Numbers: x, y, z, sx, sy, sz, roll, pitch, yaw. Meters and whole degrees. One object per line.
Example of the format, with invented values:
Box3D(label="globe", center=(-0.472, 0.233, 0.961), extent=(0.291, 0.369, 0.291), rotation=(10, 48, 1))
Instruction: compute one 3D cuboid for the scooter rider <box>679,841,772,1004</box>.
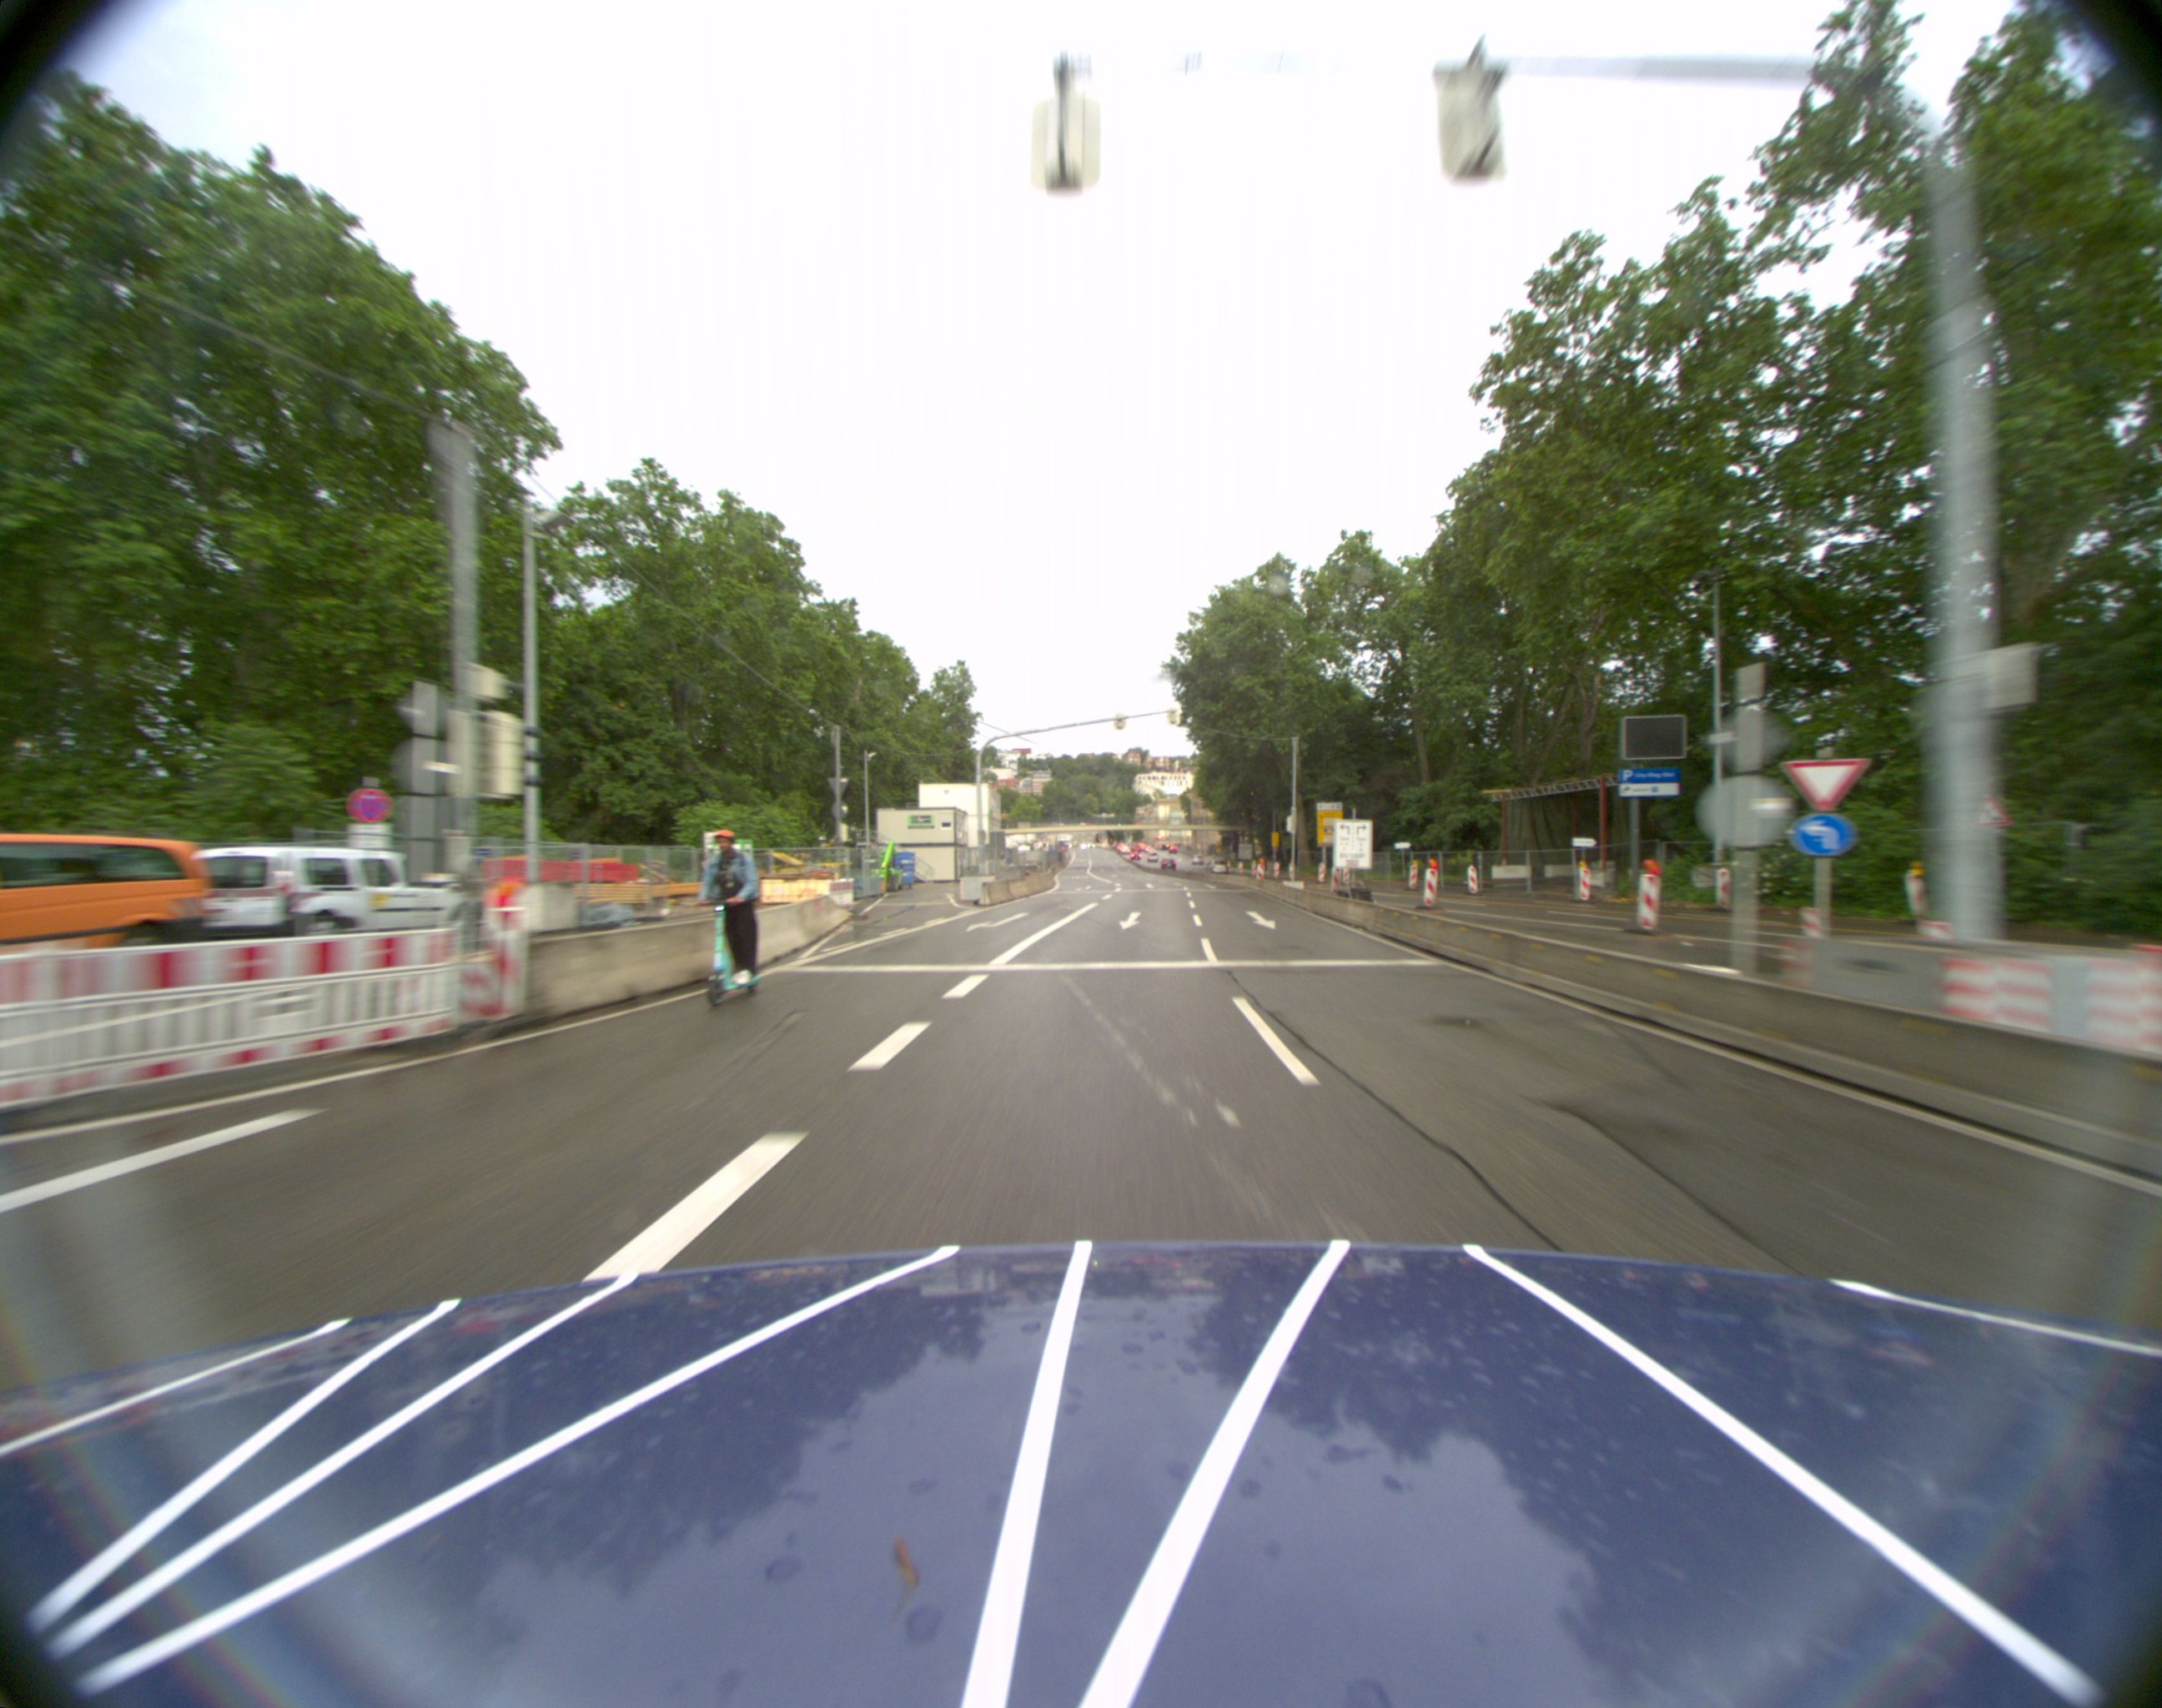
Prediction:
Box3D(label="scooter rider", center=(-4.094, 0.753, 8.819), extent=(0.599, 1.775, 0.997), rotation=(-1, 1, -2))

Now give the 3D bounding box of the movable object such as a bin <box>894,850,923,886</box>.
Box3D(label="movable object such as a bin", center=(-10.502, 0.854, 46.158), extent=(1.463, 2.190, 1.263), rotation=(0, -1, -24))

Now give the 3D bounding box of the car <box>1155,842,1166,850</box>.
Box3D(label="car", center=(21.575, -2.147, 206.502), extent=(2.000, 2.002, 3.995), rotation=(1, 2, -8))

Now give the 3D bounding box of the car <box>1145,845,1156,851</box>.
Box3D(label="car", center=(16.931, -1.530, 185.711), extent=(1.999, 1.375, 4.208), rotation=(1, 2, -5))

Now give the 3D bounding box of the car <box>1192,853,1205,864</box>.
Box3D(label="car", center=(18.635, 0.623, 120.440), extent=(1.872, 1.532, 4.092), rotation=(2, 2, 9))

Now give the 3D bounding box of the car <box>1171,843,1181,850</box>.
Box3D(label="car", center=(22.894, -1.701, 182.809), extent=(2.036, 1.643, 4.319), rotation=(0, 0, 1))

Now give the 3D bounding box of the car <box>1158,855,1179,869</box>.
Box3D(label="car", center=(10.702, 0.949, 93.239), extent=(1.998, 1.532, 4.578), rotation=(2, 2, 1))

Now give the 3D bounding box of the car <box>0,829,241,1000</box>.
Box3D(label="car", center=(-13.366, 0.702, 8.763), extent=(1.917, 1.963, 5.160), rotation=(-1, 0, -5))

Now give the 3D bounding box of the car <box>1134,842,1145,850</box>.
Box3D(label="car", center=(14.268, -1.993, 185.106), extent=(2.036, 1.926, 5.041), rotation=(1, 2, -2))

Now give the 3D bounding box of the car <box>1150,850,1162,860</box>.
Box3D(label="car", center=(13.434, 0.166, 136.423), extent=(2.035, 1.644, 4.912), rotation=(2, 1, 3))

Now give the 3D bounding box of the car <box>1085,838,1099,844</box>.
Box3D(label="car", center=(3.207, -3.881, 219.420), extent=(2.004, 1.562, 3.988), rotation=(0, 3, -36))

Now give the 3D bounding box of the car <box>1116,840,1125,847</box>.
Box3D(label="car", center=(10.521, -2.781, 202.115), extent=(1.999, 1.559, 5.378), rotation=(1, 2, -2))

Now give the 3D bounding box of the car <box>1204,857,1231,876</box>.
Box3D(label="car", center=(12.964, 1.191, 72.429), extent=(1.998, 1.532, 4.445), rotation=(2, 2, 3))

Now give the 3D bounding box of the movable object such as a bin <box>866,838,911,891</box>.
Box3D(label="movable object such as a bin", center=(-10.619, 0.579, 42.093), extent=(1.812, 2.792, 3.865), rotation=(-1, -1, -5))

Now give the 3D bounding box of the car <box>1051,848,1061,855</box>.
Box3D(label="car", center=(-5.605, -0.636, 169.102), extent=(1.837, 1.433, 4.412), rotation=(-2, 2, 4))

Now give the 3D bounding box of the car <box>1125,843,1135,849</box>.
Box3D(label="car", center=(13.354, -2.231, 205.549), extent=(1.999, 1.546, 4.208), rotation=(1, 2, -5))

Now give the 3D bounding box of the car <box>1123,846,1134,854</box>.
Box3D(label="car", center=(10.906, -0.967, 174.953), extent=(1.899, 1.559, 4.895), rotation=(1, 2, -1))

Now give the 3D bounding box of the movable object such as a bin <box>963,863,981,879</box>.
Box3D(label="movable object such as a bin", center=(-8.542, 1.333, 59.799), extent=(1.250, 1.230, 1.238), rotation=(1, 2, -1))

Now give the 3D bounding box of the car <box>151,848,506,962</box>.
Box3D(label="car", center=(-13.980, 0.873, 14.713), extent=(1.851, 1.796, 5.087), rotation=(-1, -1, -1))

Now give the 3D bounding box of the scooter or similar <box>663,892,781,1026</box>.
Box3D(label="scooter or similar", center=(-4.095, 1.146, 8.805), extent=(0.599, 1.311, 1.667), rotation=(-1, 0, -2))

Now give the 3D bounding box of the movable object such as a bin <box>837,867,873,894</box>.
Box3D(label="movable object such as a bin", center=(-11.330, 1.305, 38.100), extent=(1.177, 1.336, 1.267), rotation=(-1, -1, 19))
